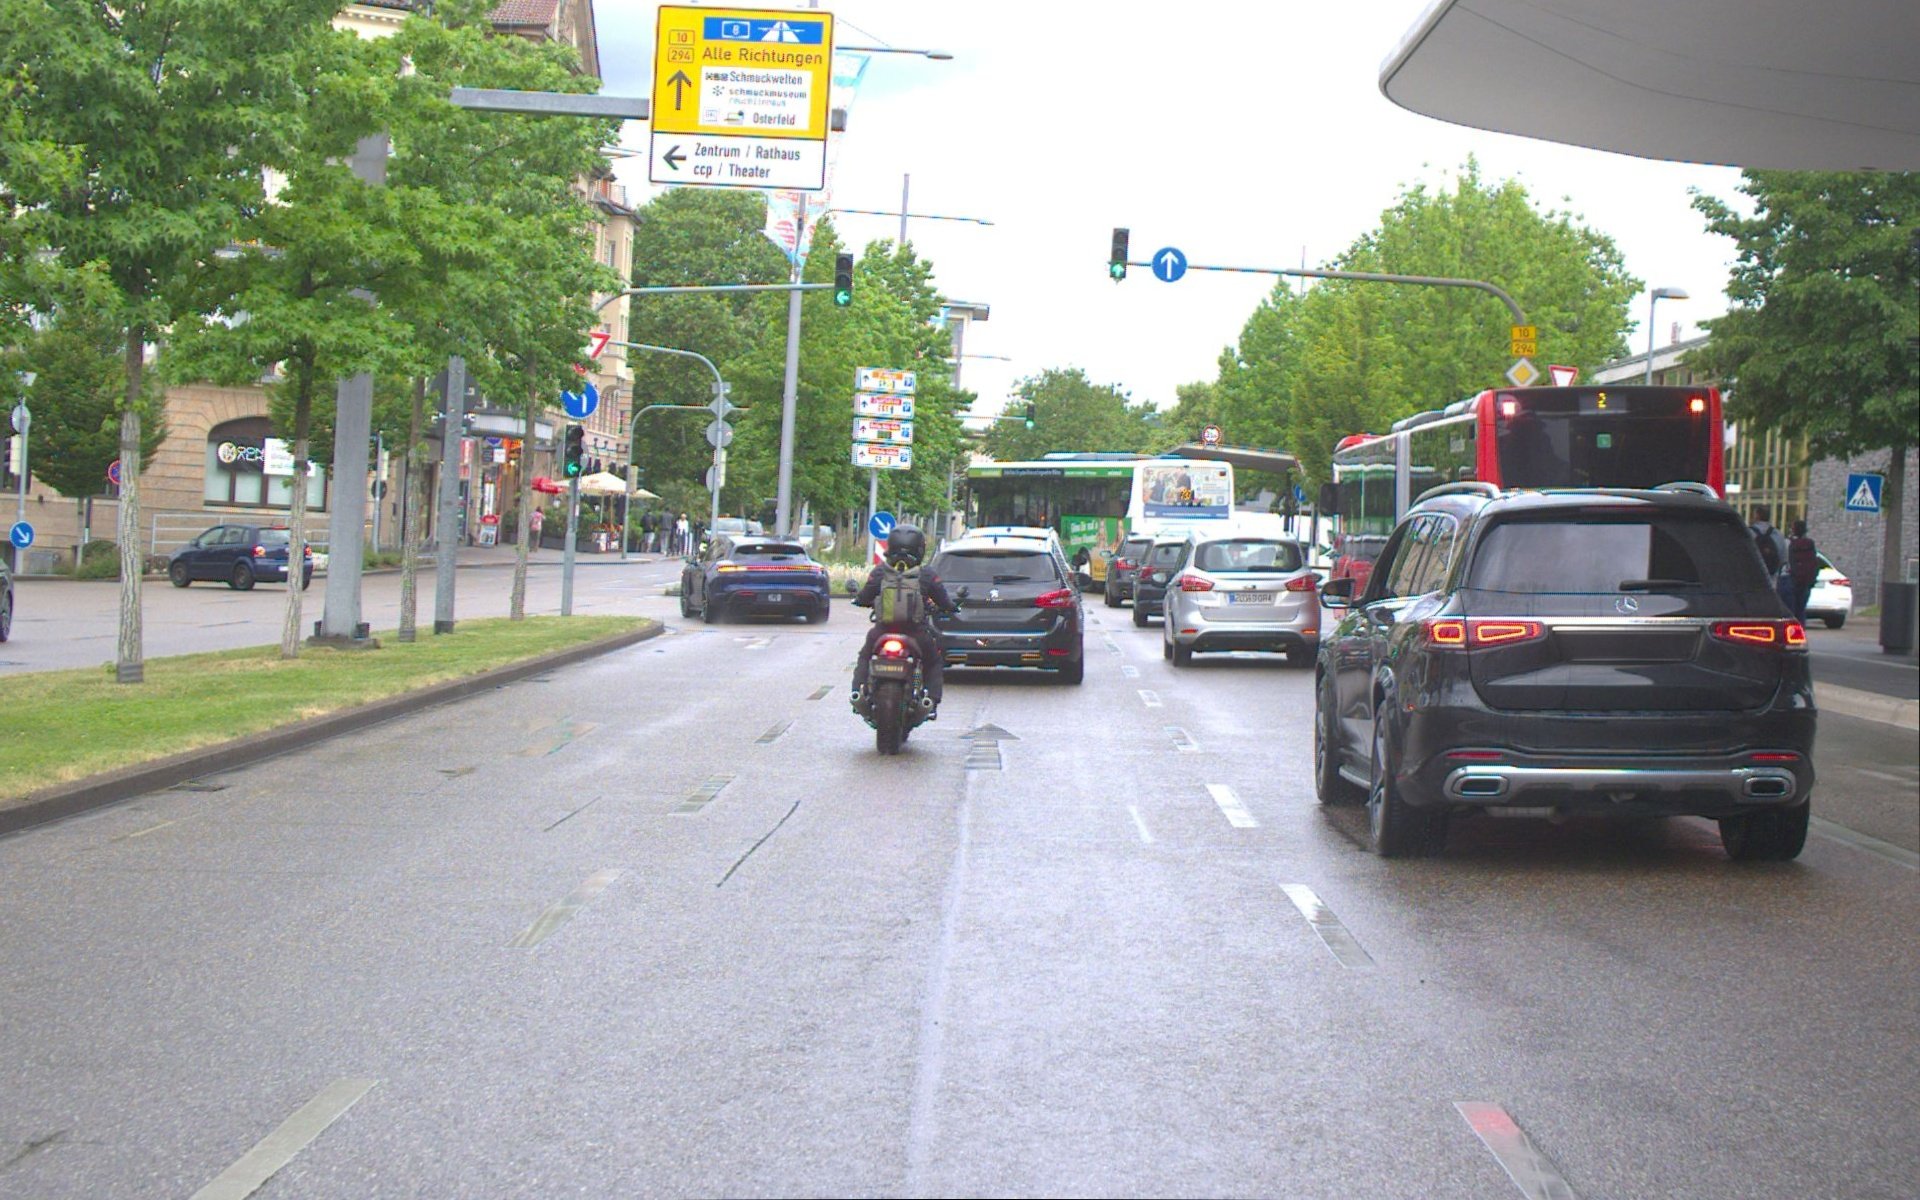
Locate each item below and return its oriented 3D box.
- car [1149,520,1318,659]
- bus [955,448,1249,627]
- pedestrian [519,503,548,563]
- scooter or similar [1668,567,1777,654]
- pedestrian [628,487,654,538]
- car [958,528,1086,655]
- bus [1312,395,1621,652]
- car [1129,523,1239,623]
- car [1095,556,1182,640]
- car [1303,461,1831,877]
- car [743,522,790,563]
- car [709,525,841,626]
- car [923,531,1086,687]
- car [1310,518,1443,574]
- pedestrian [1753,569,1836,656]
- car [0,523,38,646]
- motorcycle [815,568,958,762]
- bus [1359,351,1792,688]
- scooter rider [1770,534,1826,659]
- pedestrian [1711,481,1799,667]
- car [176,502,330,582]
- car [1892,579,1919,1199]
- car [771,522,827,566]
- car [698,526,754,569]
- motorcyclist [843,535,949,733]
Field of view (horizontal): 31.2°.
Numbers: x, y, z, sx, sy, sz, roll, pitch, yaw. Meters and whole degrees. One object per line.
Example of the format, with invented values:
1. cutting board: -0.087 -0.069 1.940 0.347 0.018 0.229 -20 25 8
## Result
1. car: 3.180 -0.163 40.517 1.741 1.562 3.871 0 1 1
2. bus: 3.252 -1.549 83.952 2.837 3.974 11.867 2 1 -19
3. pedestrian: -14.338 -2.261 115.598 0.724 2.007 0.826 1 1 -25
4. scooter or similar: 9.380 0.125 42.271 1.244 1.009 0.763 2 0 15
5. pedestrian: -12.357 -3.381 133.154 0.724 1.959 0.826 1 1 -25
6. car: 0.801 -0.149 44.450 1.575 1.562 3.871 0 1 1
7. bus: 7.059 -1.084 49.278 3.291 3.278 8.849 1 1 2
8. car: 3.580 -0.464 55.491 1.575 1.562 3.871 0 1 1
9. car: 3.481 -0.064 67.501 1.575 1.562 3.796 0 1 1
10. car: 2.974 0.256 17.914 1.957 1.869 4.873 0 1 1
11. car: -7.418 -2.214 131.994 1.575 1.562 3.430 0 1 1
12. car: -2.942 -0.431 55.513 1.816 1.565 4.404 0 1 1
13. car: 0.490 0.044 35.214 1.575 1.499 3.871 0 1 2
14. car: 11.897 -1.552 98.368 1.576 1.562 3.795 -1 2 -38
15. pedestrian: 10.199 0.158 42.003 0.914 0.981 0.633 3 -3 15
16. car: -12.720 -0.210 42.074 1.680 1.522 4.640 2 1 -1
17. motorcycle: -0.491 0.423 23.771 0.793 1.258 1.855 1 1 4
18. bus: 6.780 -0.909 39.801 3.286 3.280 10.877 1 1 2
19. scooter rider: 10.252 -0.042 42.054 0.592 1.485 0.764 2 0 15
20. pedestrian: 8.917 -0.289 38.540 0.778 2.006 0.781 5 1 14
21. car: -15.554 -1.277 75.515 1.836 1.622 3.705 2 1 -37
22. car: 2.920 0.745 5.406 1.697 1.457 4.304 1 1 0
23. car: -5.791 -2.022 123.850 1.780 1.562 3.430 0 1 1
24. car: -8.550 -1.937 125.902 1.780 1.562 3.430 0 1 1
25. motorcyclist: -0.442 0.226 23.997 0.641 1.343 0.689 2 1 4
